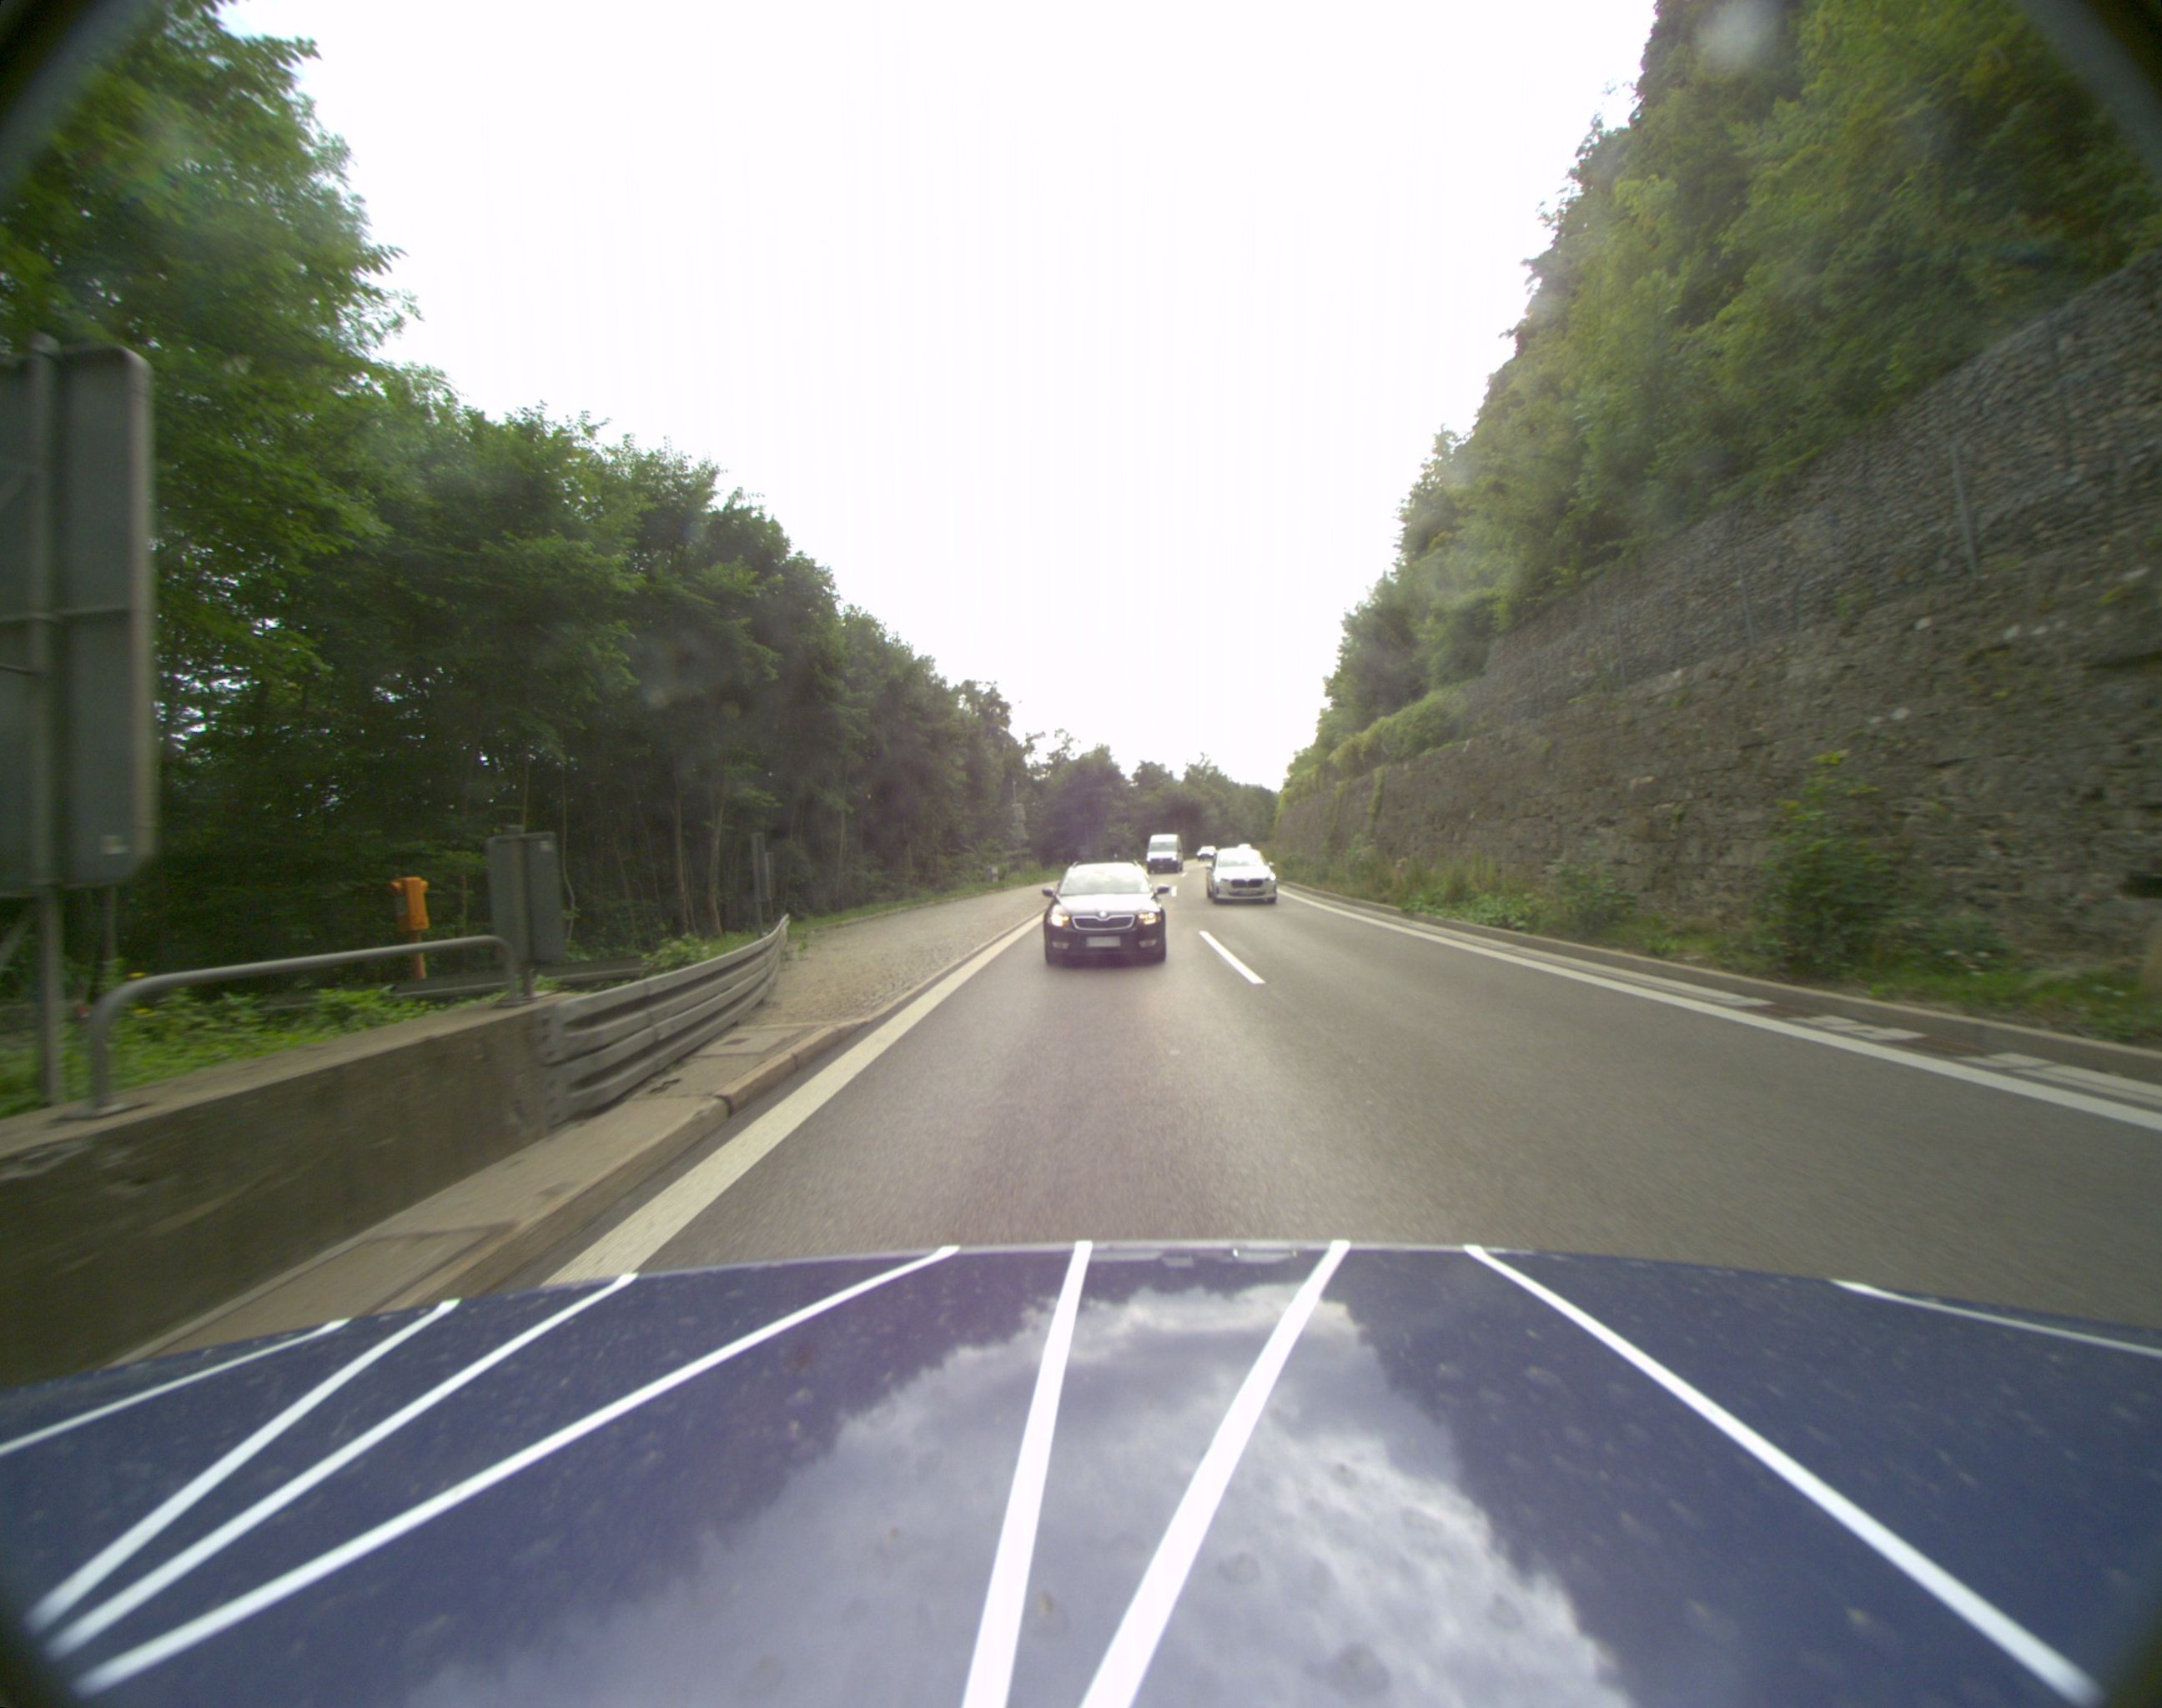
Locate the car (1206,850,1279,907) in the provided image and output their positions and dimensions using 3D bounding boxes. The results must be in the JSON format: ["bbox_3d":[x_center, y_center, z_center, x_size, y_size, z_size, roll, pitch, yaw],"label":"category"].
[{"bbox_3d":[4.888,0.682,23.433,1.822,1.546,4.002,-2,0,7],"label":"car"}]

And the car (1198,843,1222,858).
[{"bbox_3d":[13.973,-0.385,81.920,1.820,1.546,4.005,-1,0,20],"label":"car"}]

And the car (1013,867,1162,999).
[{"bbox_3d":[0.237,0.933,10.804,1.637,1.384,4.500,-2,0,4],"label":"car"}]

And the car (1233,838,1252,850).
[{"bbox_3d":[22.638,-1.384,106.345,1.820,1.546,4.006,-1,0,23],"label":"car"}]

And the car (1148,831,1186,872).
[{"bbox_3d":[5.901,-0.165,51.553,2.097,2.547,5.924,-2,0,11],"label":"car"}]
